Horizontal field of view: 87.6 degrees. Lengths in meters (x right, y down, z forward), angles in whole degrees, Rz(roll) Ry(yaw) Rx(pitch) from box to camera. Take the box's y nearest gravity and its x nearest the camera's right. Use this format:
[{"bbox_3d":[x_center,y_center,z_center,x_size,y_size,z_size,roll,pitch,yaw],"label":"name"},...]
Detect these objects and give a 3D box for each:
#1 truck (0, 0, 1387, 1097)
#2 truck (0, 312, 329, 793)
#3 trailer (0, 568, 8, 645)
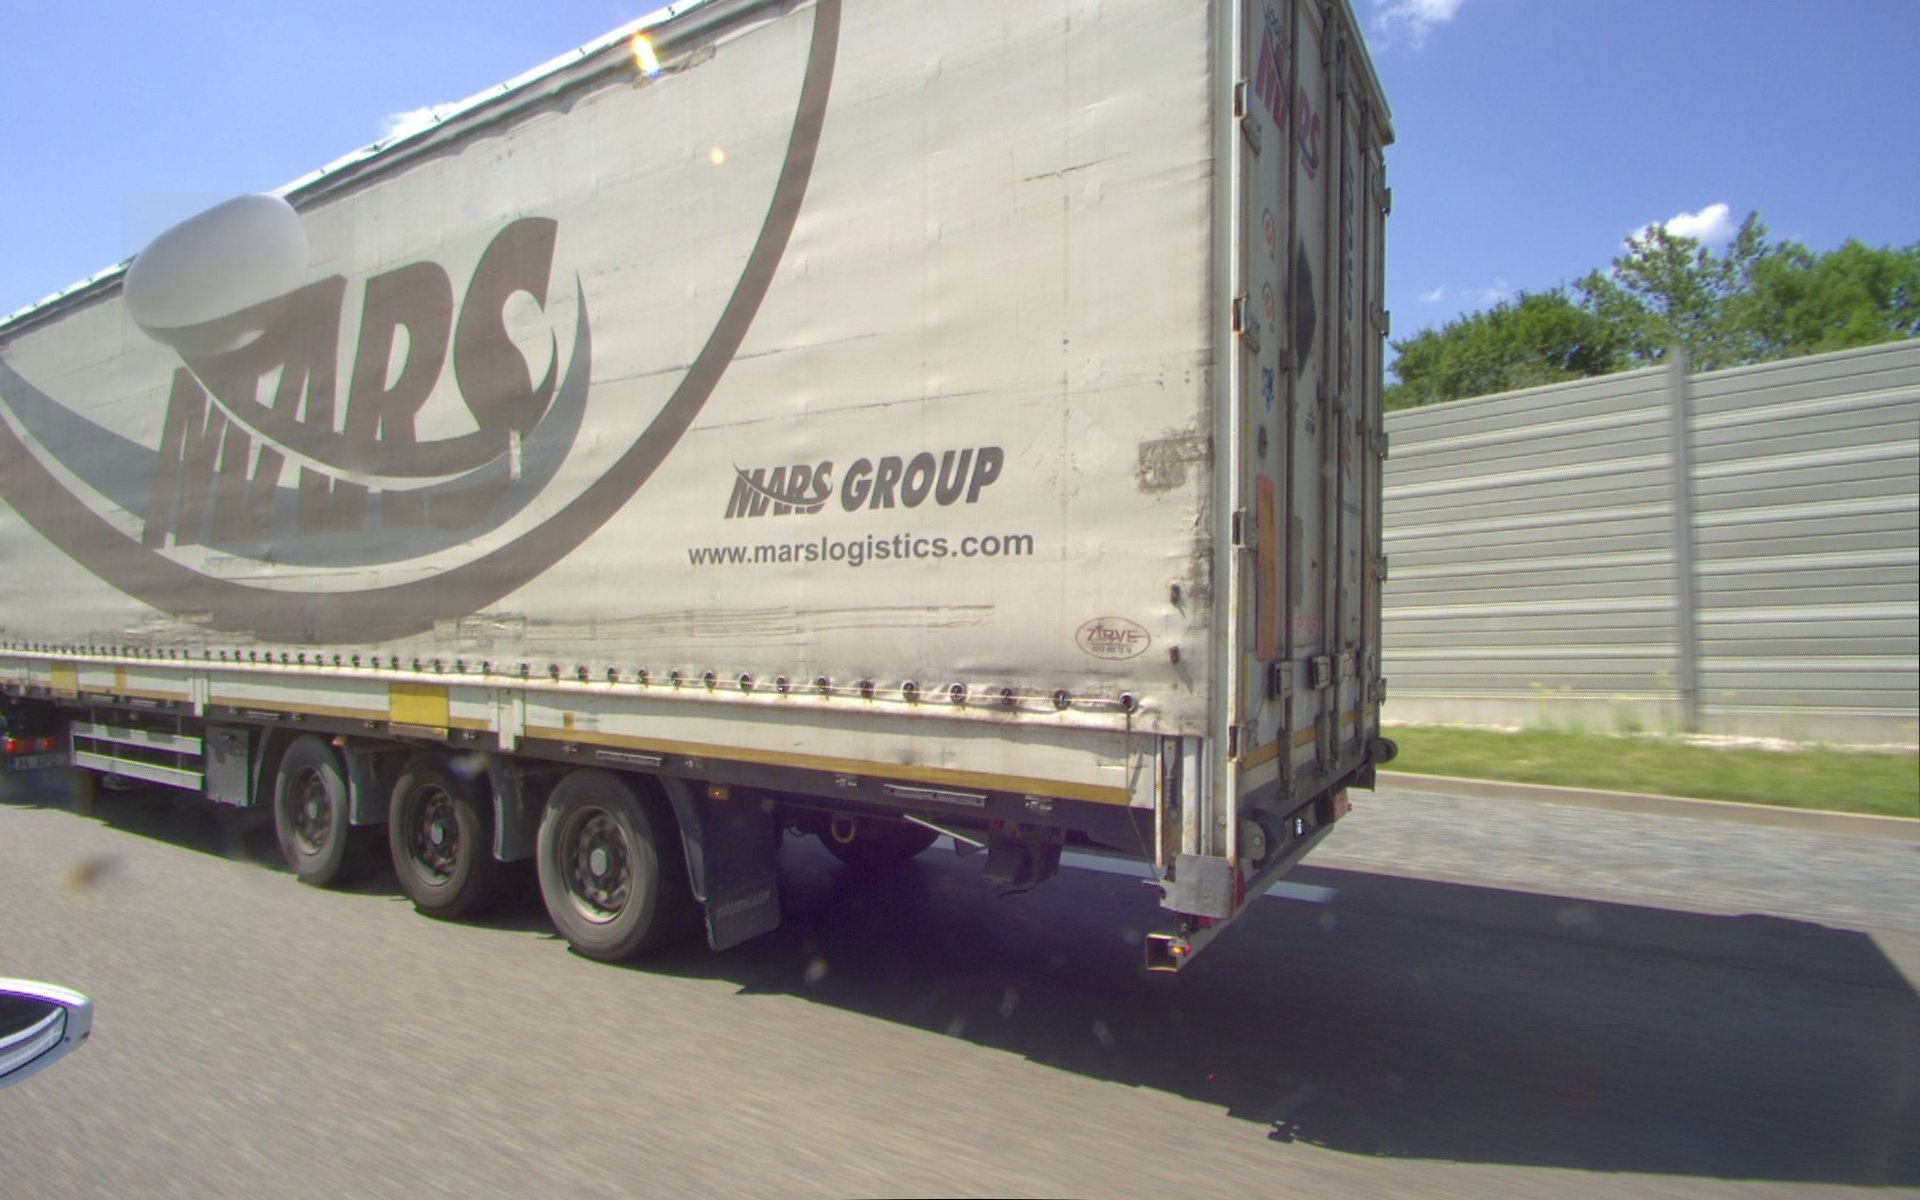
[{"bbox_3d":[-4.272,-0.465,7.582,13.546,4.119,2.722,-2,-2,32],"label":"truck"},{"bbox_3d":[-9.947,-0.289,11.172,5.672,4.119,2.715,-2,-2,32],"label":"truck"},{"bbox_3d":[-54.507,0.378,53.045,10.993,3.950,3.405,-1,-1,33],"label":"trailer"}]
